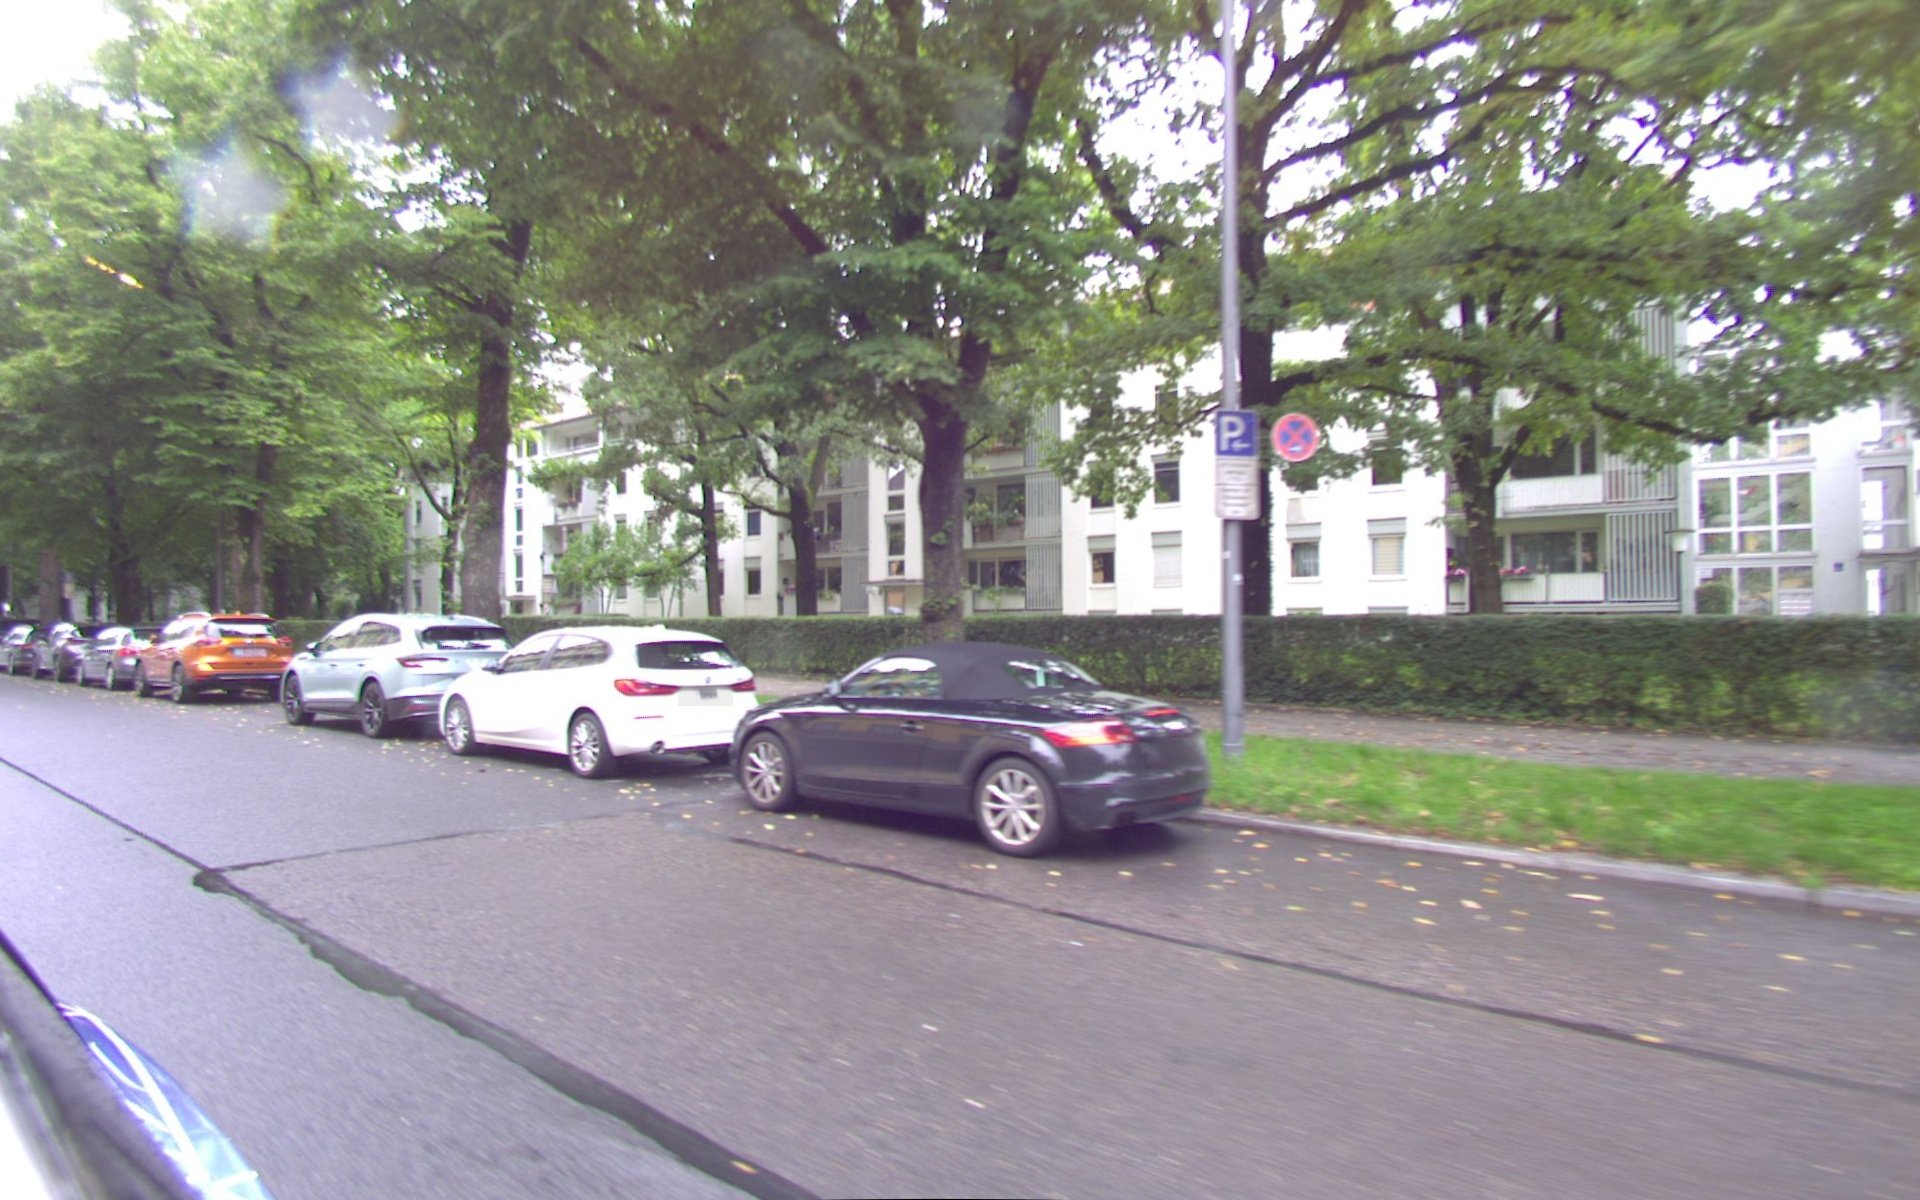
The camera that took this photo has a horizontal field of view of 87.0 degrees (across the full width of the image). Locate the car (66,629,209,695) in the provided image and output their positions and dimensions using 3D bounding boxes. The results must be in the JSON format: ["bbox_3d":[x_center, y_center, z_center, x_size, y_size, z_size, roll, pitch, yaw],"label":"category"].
[{"bbox_3d":[-19.661,1.415,24.128,4.245,1.433,1.711,-2,-2,38],"label":"car"}]

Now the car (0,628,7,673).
[{"bbox_3d":[-37.764,1.856,38.391,4.518,1.634,1.747,-1,-4,40],"label":"car"}]

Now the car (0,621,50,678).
[{"bbox_3d":[-32.438,1.634,34.028,4.915,1.811,1.974,-1,-3,39],"label":"car"}]

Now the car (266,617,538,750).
[{"bbox_3d":[-8.032,1.059,14.407,4.507,1.613,1.798,-1,-2,38],"label":"car"}]

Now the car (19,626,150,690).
[{"bbox_3d":[-23.631,1.522,27.264,4.479,1.586,1.769,-2,-3,38],"label":"car"}]

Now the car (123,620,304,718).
[{"bbox_3d":[-15.058,1.287,20.322,4.636,1.741,1.854,-1,-2,40],"label":"car"}]

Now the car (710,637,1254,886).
[{"bbox_3d":[-0.028,0.983,7.635,4.041,1.353,1.561,-1,-2,41],"label":"car"}]

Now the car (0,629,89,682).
[{"bbox_3d":[-28.127,1.628,30.773,4.690,1.462,1.701,-1,-2,39],"label":"car"}]

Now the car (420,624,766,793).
[{"bbox_3d":[-4.080,1.011,10.937,4.194,1.508,1.562,-1,-2,38],"label":"car"}]
